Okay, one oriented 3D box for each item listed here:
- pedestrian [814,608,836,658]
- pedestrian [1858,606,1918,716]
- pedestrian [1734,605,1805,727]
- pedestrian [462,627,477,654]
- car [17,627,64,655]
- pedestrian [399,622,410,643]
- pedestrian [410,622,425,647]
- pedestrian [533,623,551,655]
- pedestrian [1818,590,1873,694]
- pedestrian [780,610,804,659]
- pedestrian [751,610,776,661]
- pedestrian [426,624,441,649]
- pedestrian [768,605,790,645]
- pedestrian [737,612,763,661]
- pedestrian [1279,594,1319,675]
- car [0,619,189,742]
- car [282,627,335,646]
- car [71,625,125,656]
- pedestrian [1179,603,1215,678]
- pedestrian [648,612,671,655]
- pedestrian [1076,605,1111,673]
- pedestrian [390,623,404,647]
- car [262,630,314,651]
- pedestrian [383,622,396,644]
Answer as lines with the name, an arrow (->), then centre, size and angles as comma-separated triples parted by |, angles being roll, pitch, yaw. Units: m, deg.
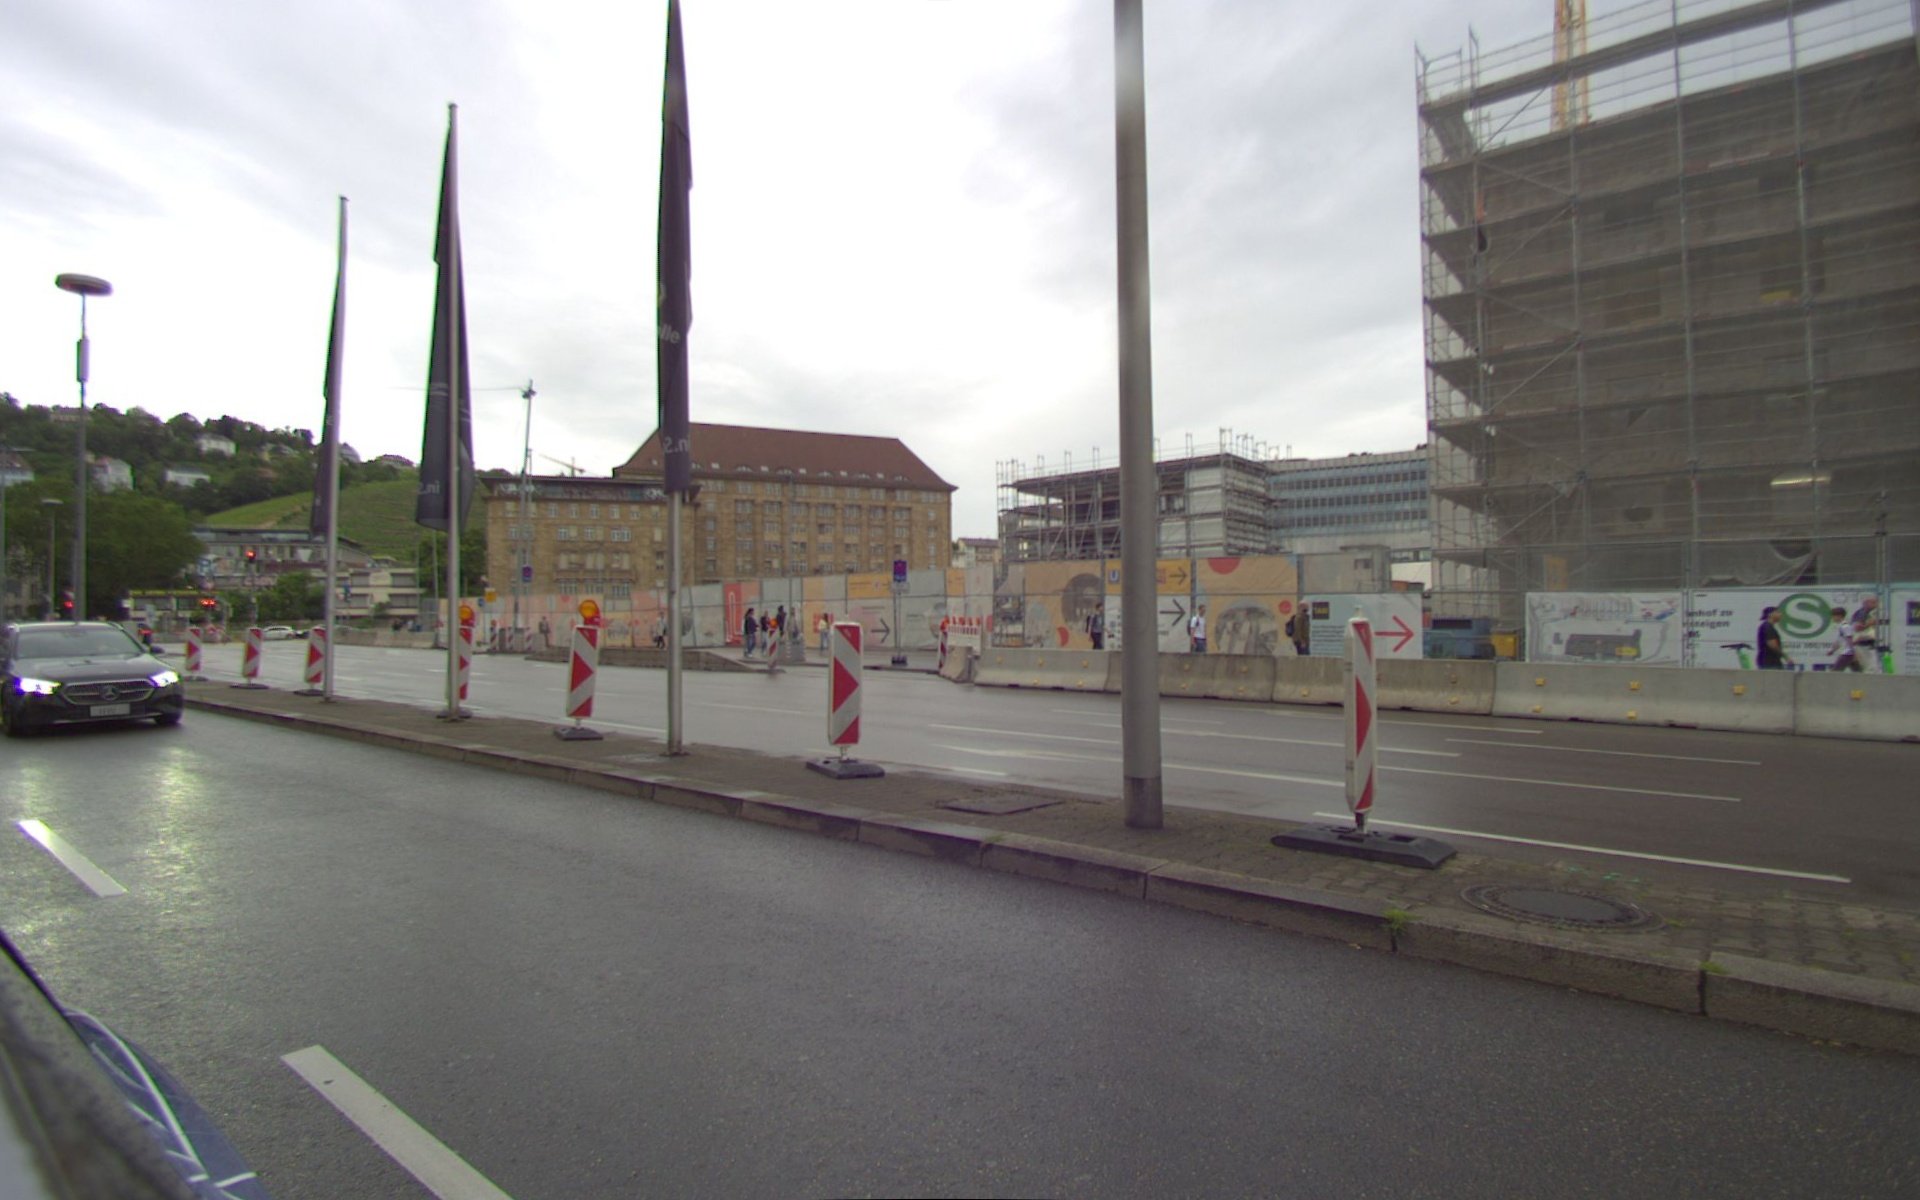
pedestrian -> -5.052, 1.216, 37.824 | 0.651, 1.850, 0.557 | -1, 0, -29
pedestrian -> 15.999, 1.032, 17.465 | 0.717, 1.850, 0.475 | -1, 0, 41
pedestrian -> 12.757, 1.016, 15.948 | 0.819, 1.850, 0.572 | -1, 0, 41
pedestrian -> -30.297, 2.478, 62.510 | 0.544, 1.628, 0.706 | -1, 0, 41
car -> -60.179, 2.681, 66.225 | 3.913, 1.707, 1.763 | -1, 0, 40
pedestrian -> -44.497, 2.593, 81.064 | 0.705, 1.628, 0.545 | -1, 0, -40
pedestrian -> -35.867, 2.271, 66.907 | 0.544, 1.628, 0.706 | -1, 0, 41
pedestrian -> -21.658, 2.019, 52.436 | 0.544, 1.628, 0.706 | -1, 0, 41
pedestrian -> 16.115, 0.753, 18.435 | 0.717, 1.850, 0.475 | -1, 0, 41
pedestrian -> -6.256, 1.270, 37.600 | 0.704, 1.757, 0.565 | -1, 0, -29
pedestrian -> -7.415, 1.323, 38.104 | 0.704, 1.850, 0.719 | -1, 0, -31
pedestrian -> -34.348, 2.388, 66.004 | 0.544, 1.628, 0.706 | -1, 0, 41
pedestrian -> -7.470, 1.036, 41.759 | 0.544, 1.628, 0.706 | -1, 0, 41
pedestrian -> -7.617, 1.317, 36.667 | 0.704, 1.746, 0.719 | -1, 0, -31
pedestrian -> 7.834, 0.784, 23.390 | 0.717, 1.850, 0.475 | -1, 0, 41
car -> -12.912, 1.037, 14.720 | 4.585, 1.480, 1.836 | -1, 0, 41
car -> -59.476, 3.346, 92.363 | 3.934, 1.644, 2.005 | 0, -2, -36
car -> -48.814, 2.276, 57.280 | 3.914, 1.707, 1.762 | -2, -2, 41
pedestrian -> 6.000, 1.009, 25.635 | 0.717, 1.850, 0.475 | -1, 0, 41
pedestrian -> -13.284, 1.468, 44.772 | 0.720, 1.850, 0.656 | -1, 0, 41
pedestrian -> 3.664, 1.062, 27.815 | 0.717, 1.850, 0.579 | -1, 0, 41
pedestrian -> -40.055, 2.486, 71.945 | 0.544, 1.628, 0.706 | -1, 0, 41
car -> -68.573, 4.103, 103.285 | 4.136, 1.871, 1.833 | -1, 0, -44
pedestrian -> -43.261, 2.465, 76.724 | 0.544, 1.628, 0.706 | -1, 0, 41
